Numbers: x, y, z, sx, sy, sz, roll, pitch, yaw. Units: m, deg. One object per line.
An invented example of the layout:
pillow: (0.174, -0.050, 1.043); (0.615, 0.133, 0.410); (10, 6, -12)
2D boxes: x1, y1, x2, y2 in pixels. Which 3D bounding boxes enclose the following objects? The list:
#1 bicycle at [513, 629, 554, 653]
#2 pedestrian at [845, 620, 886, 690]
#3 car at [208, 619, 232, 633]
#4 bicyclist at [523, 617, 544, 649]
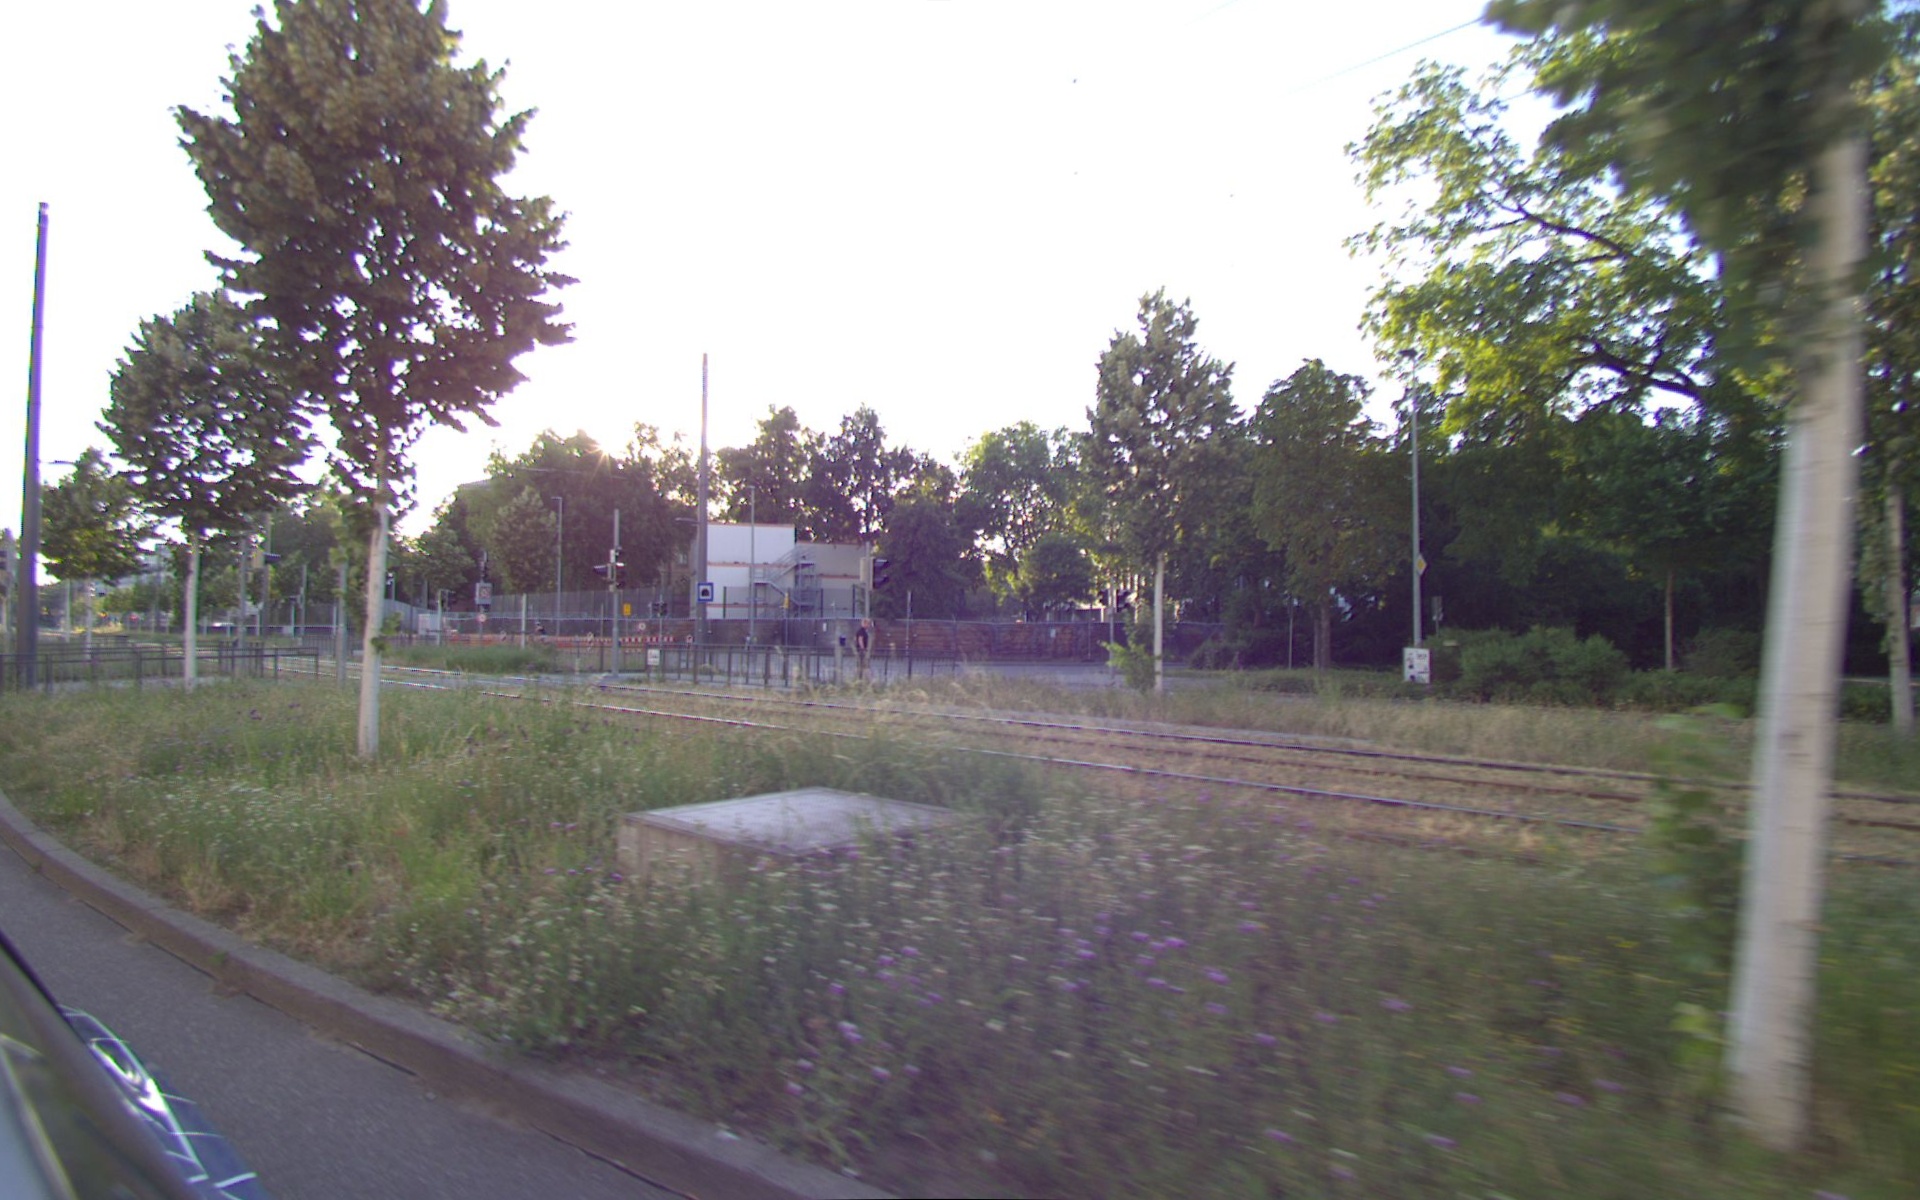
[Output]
bicycle: (-21.760, 2.092, 51.693); (1.866, 1.142, 0.719); (-1, -1, -19)
pedestrian: (-2.269, 1.318, 24.226); (0.660, 1.620, 0.679); (-2, -5, -28)
car: (-90.823, 3.187, 124.254); (1.823, 1.572, 3.802); (-1, -1, -45)
bicyclist: (-21.771, 1.681, 51.698); (0.928, 1.633, 0.719); (-1, -1, -19)
